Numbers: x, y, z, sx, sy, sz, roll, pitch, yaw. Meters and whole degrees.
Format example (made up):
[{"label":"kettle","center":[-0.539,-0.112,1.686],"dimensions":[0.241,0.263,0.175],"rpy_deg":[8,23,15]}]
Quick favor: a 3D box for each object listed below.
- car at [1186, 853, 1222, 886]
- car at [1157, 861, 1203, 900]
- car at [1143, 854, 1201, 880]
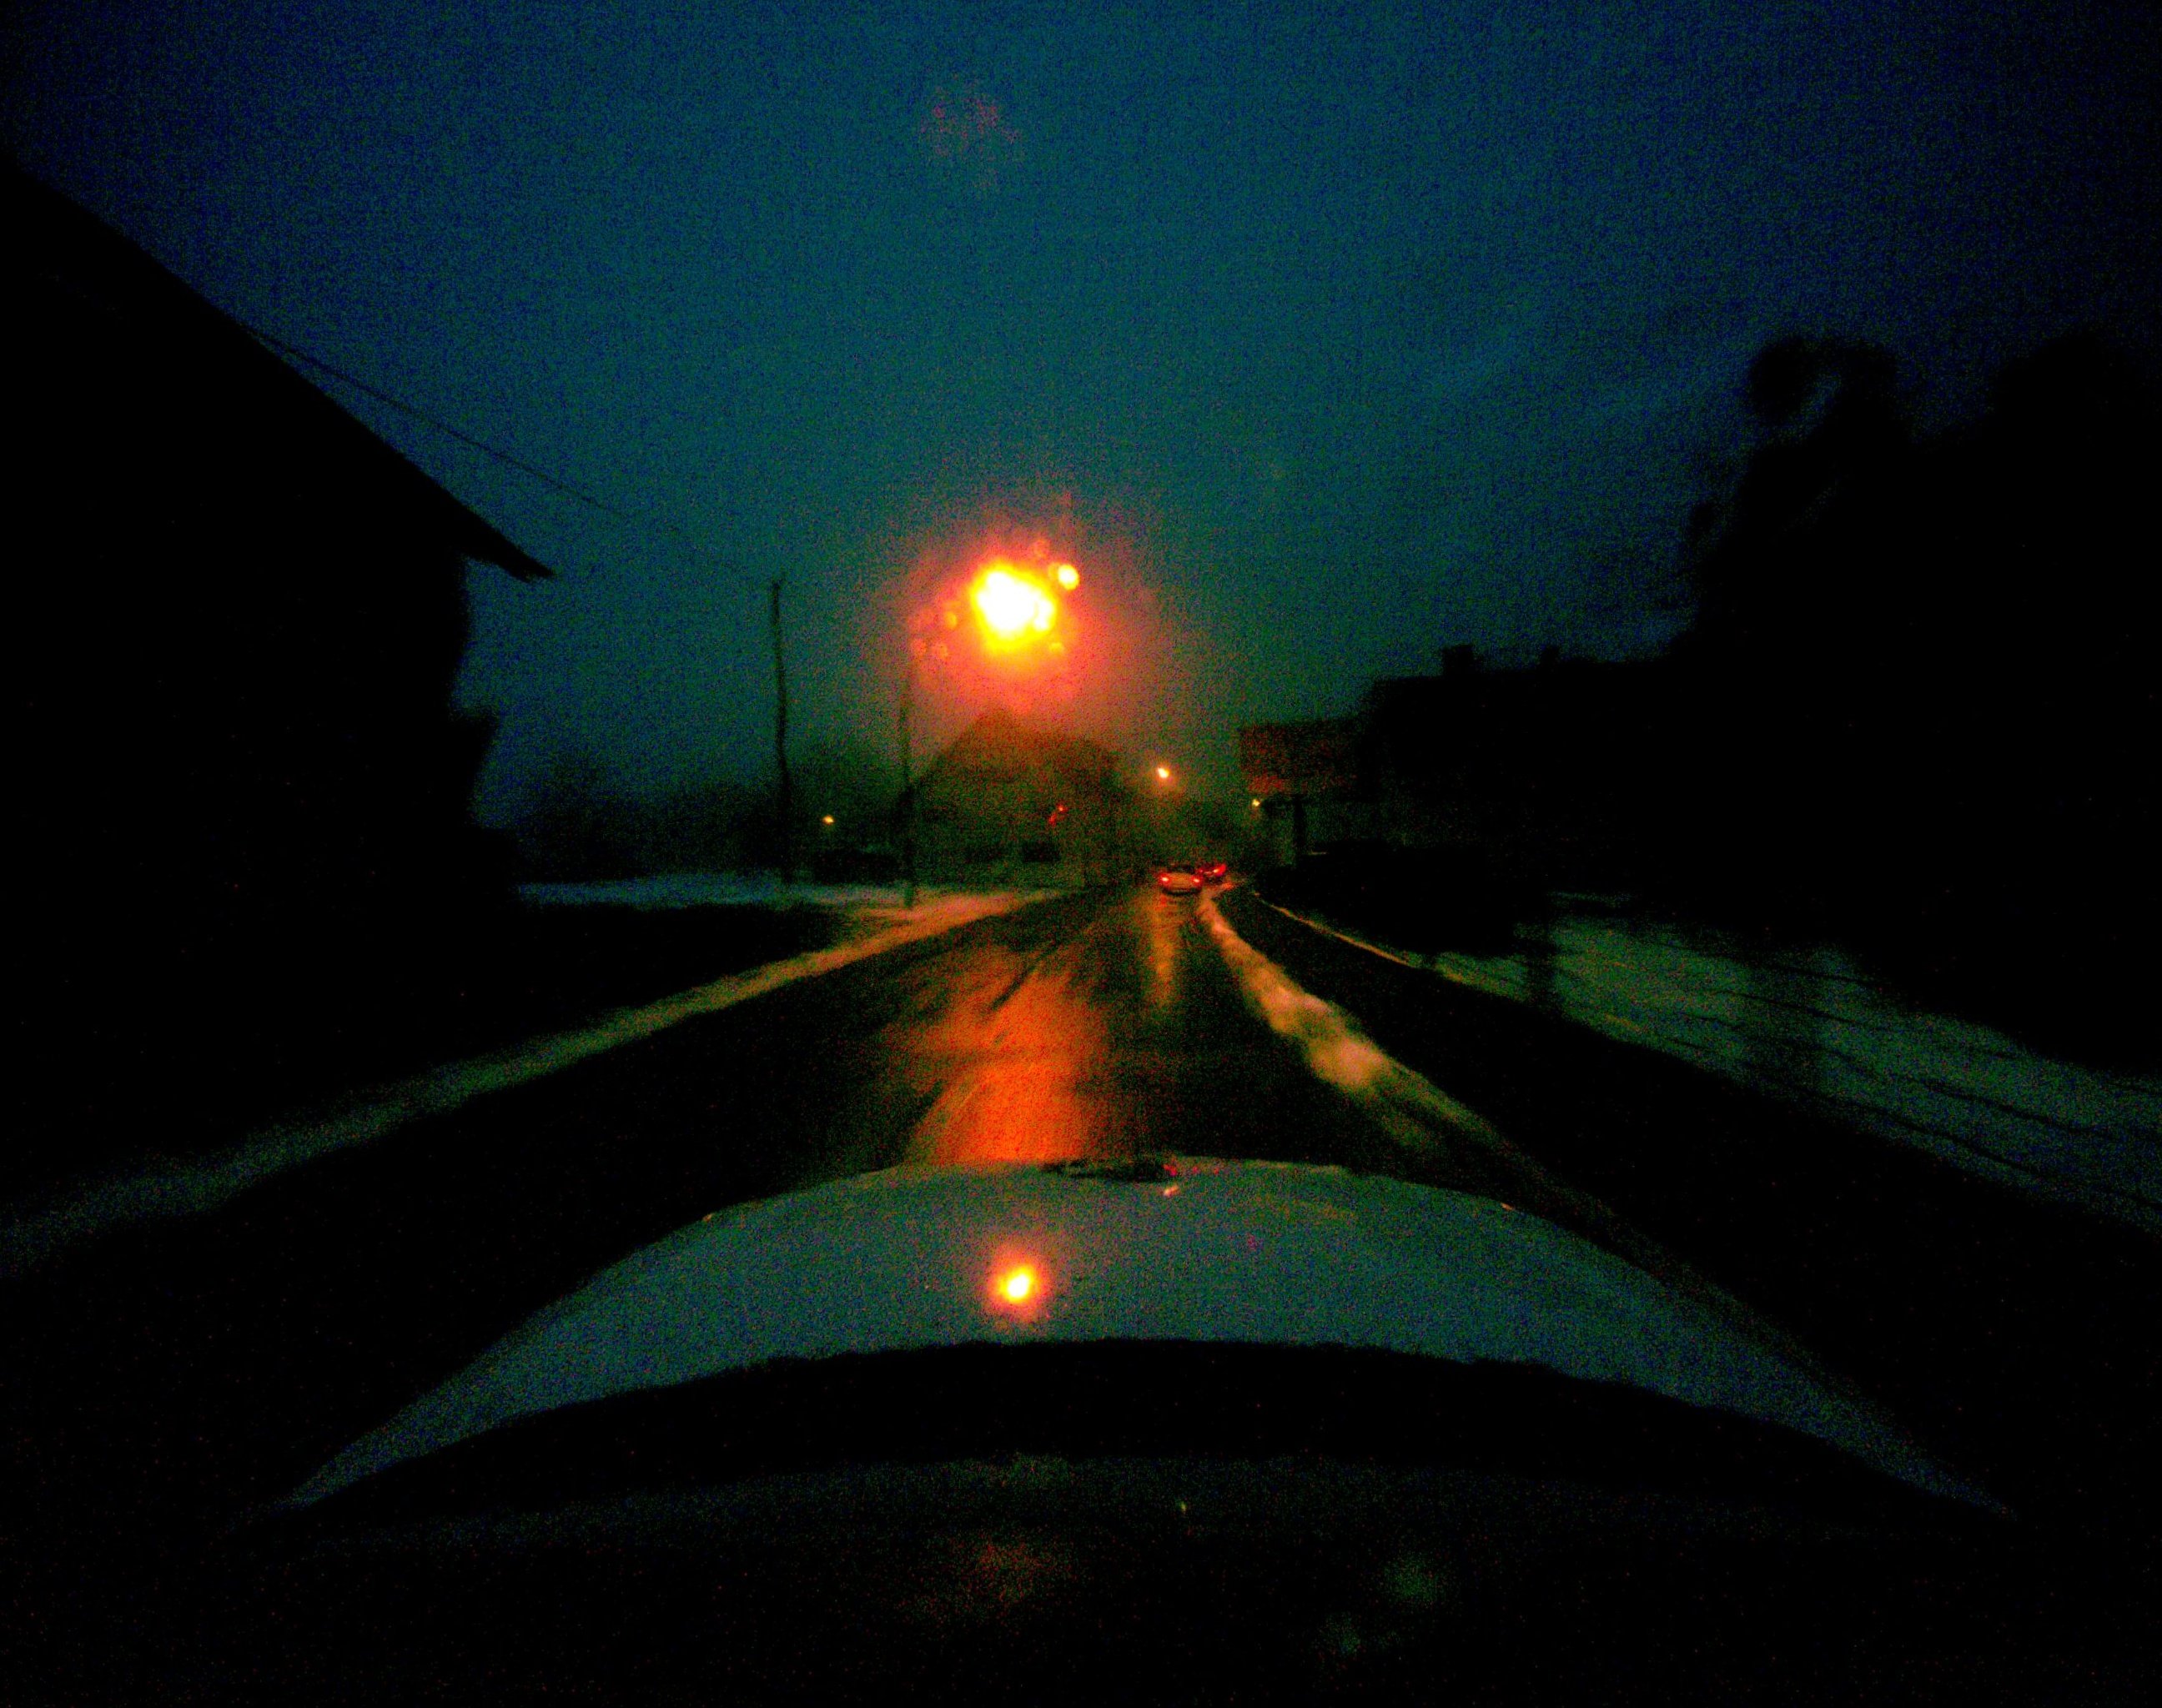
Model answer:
[{"label":"car","center":[8.374,1.005,55.190],"dimensions":[1.980,1.837,4.015],"rpy_deg":[-4,1,13]},{"label":"car","center":[4.681,1.220,39.031],"dimensions":[1.984,1.508,4.007],"rpy_deg":[-4,1,5]},{"label":"car","center":[8.283,1.218,74.280],"dimensions":[4.687,2.013,2.013],"rpy_deg":[-4,1,28]}]
